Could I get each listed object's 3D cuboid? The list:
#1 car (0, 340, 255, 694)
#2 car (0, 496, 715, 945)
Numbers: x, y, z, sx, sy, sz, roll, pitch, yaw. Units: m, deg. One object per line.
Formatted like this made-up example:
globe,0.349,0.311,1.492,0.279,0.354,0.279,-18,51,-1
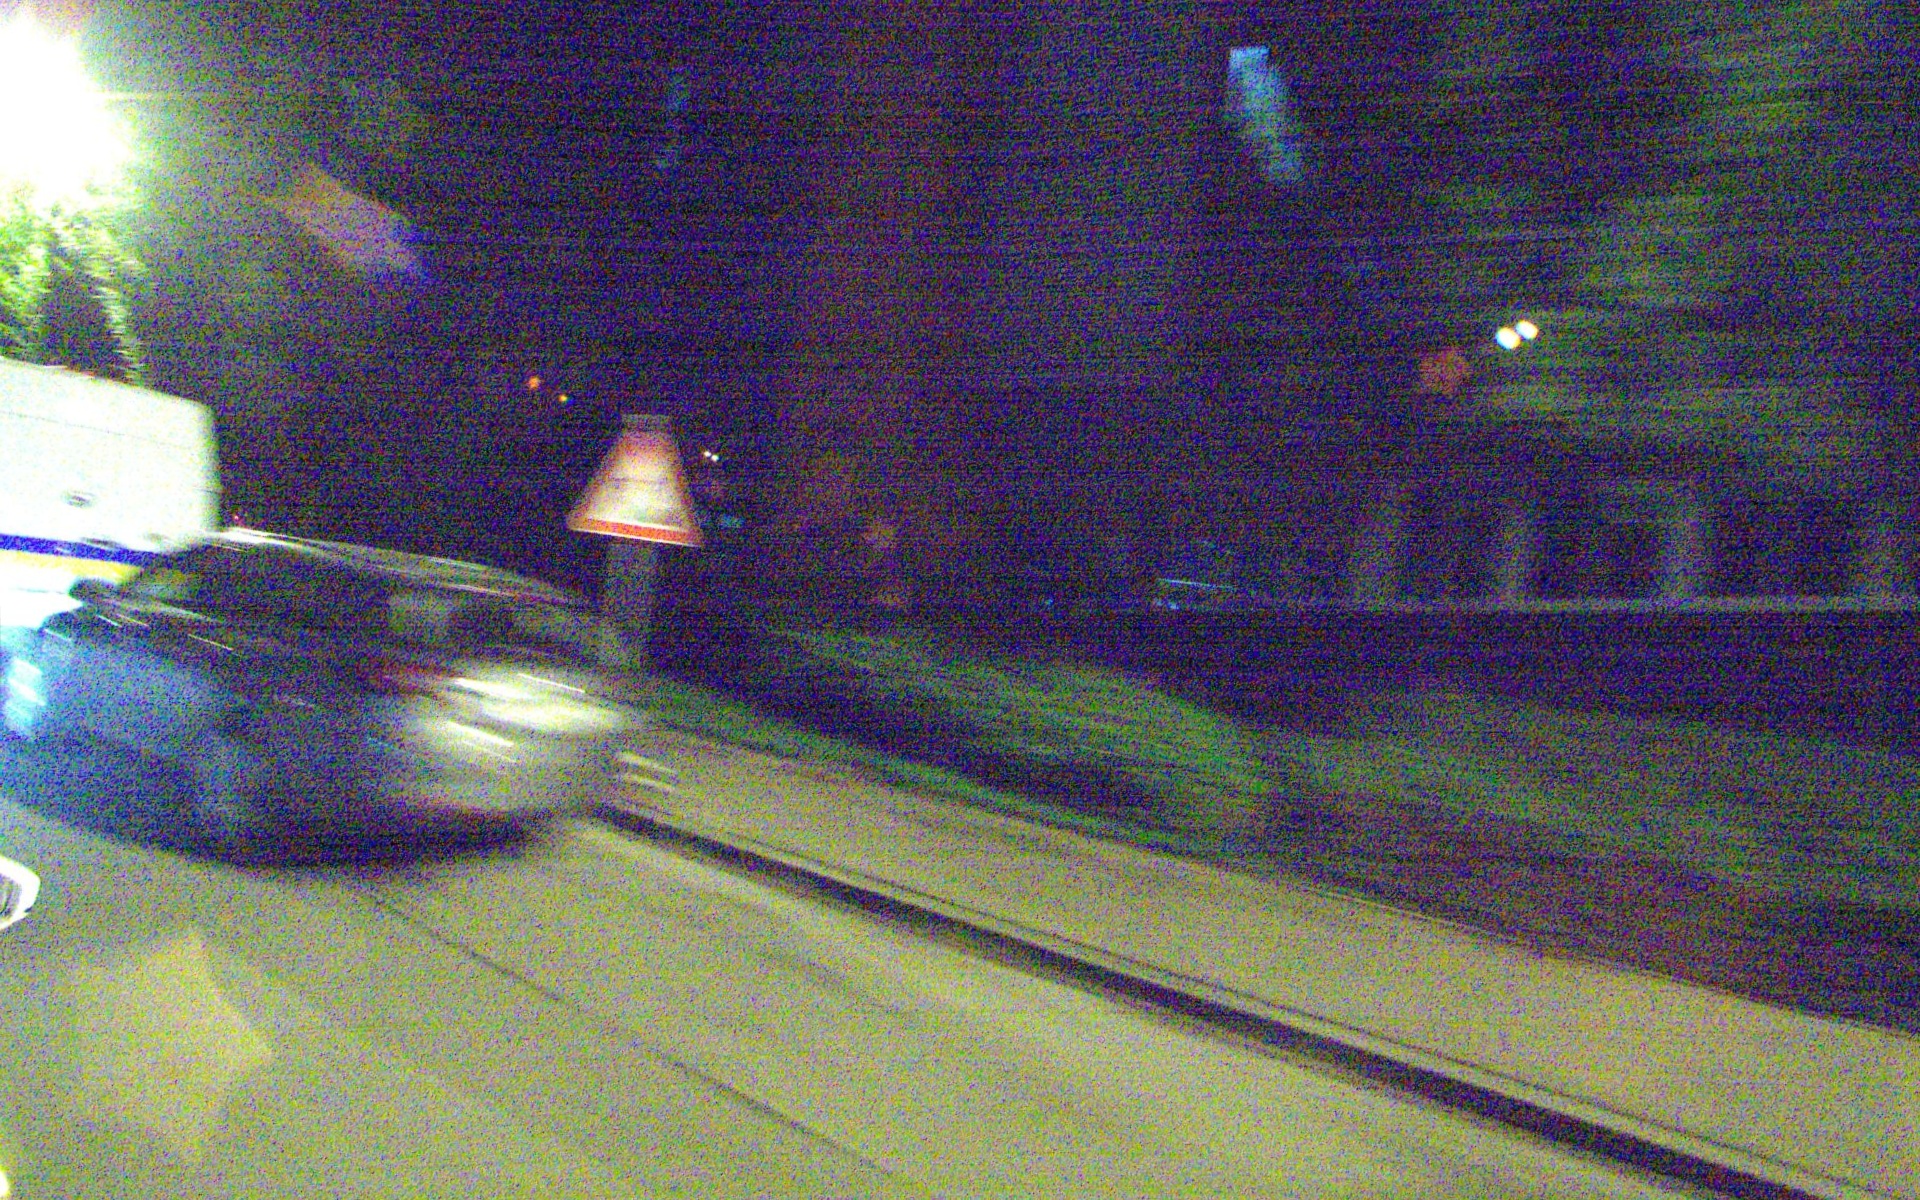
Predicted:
car,-9.198,-0.858,9.567,5.957,2.556,2.022,7,-1,36
car,-3.754,0.413,5.851,4.564,1.526,1.713,7,0,32
